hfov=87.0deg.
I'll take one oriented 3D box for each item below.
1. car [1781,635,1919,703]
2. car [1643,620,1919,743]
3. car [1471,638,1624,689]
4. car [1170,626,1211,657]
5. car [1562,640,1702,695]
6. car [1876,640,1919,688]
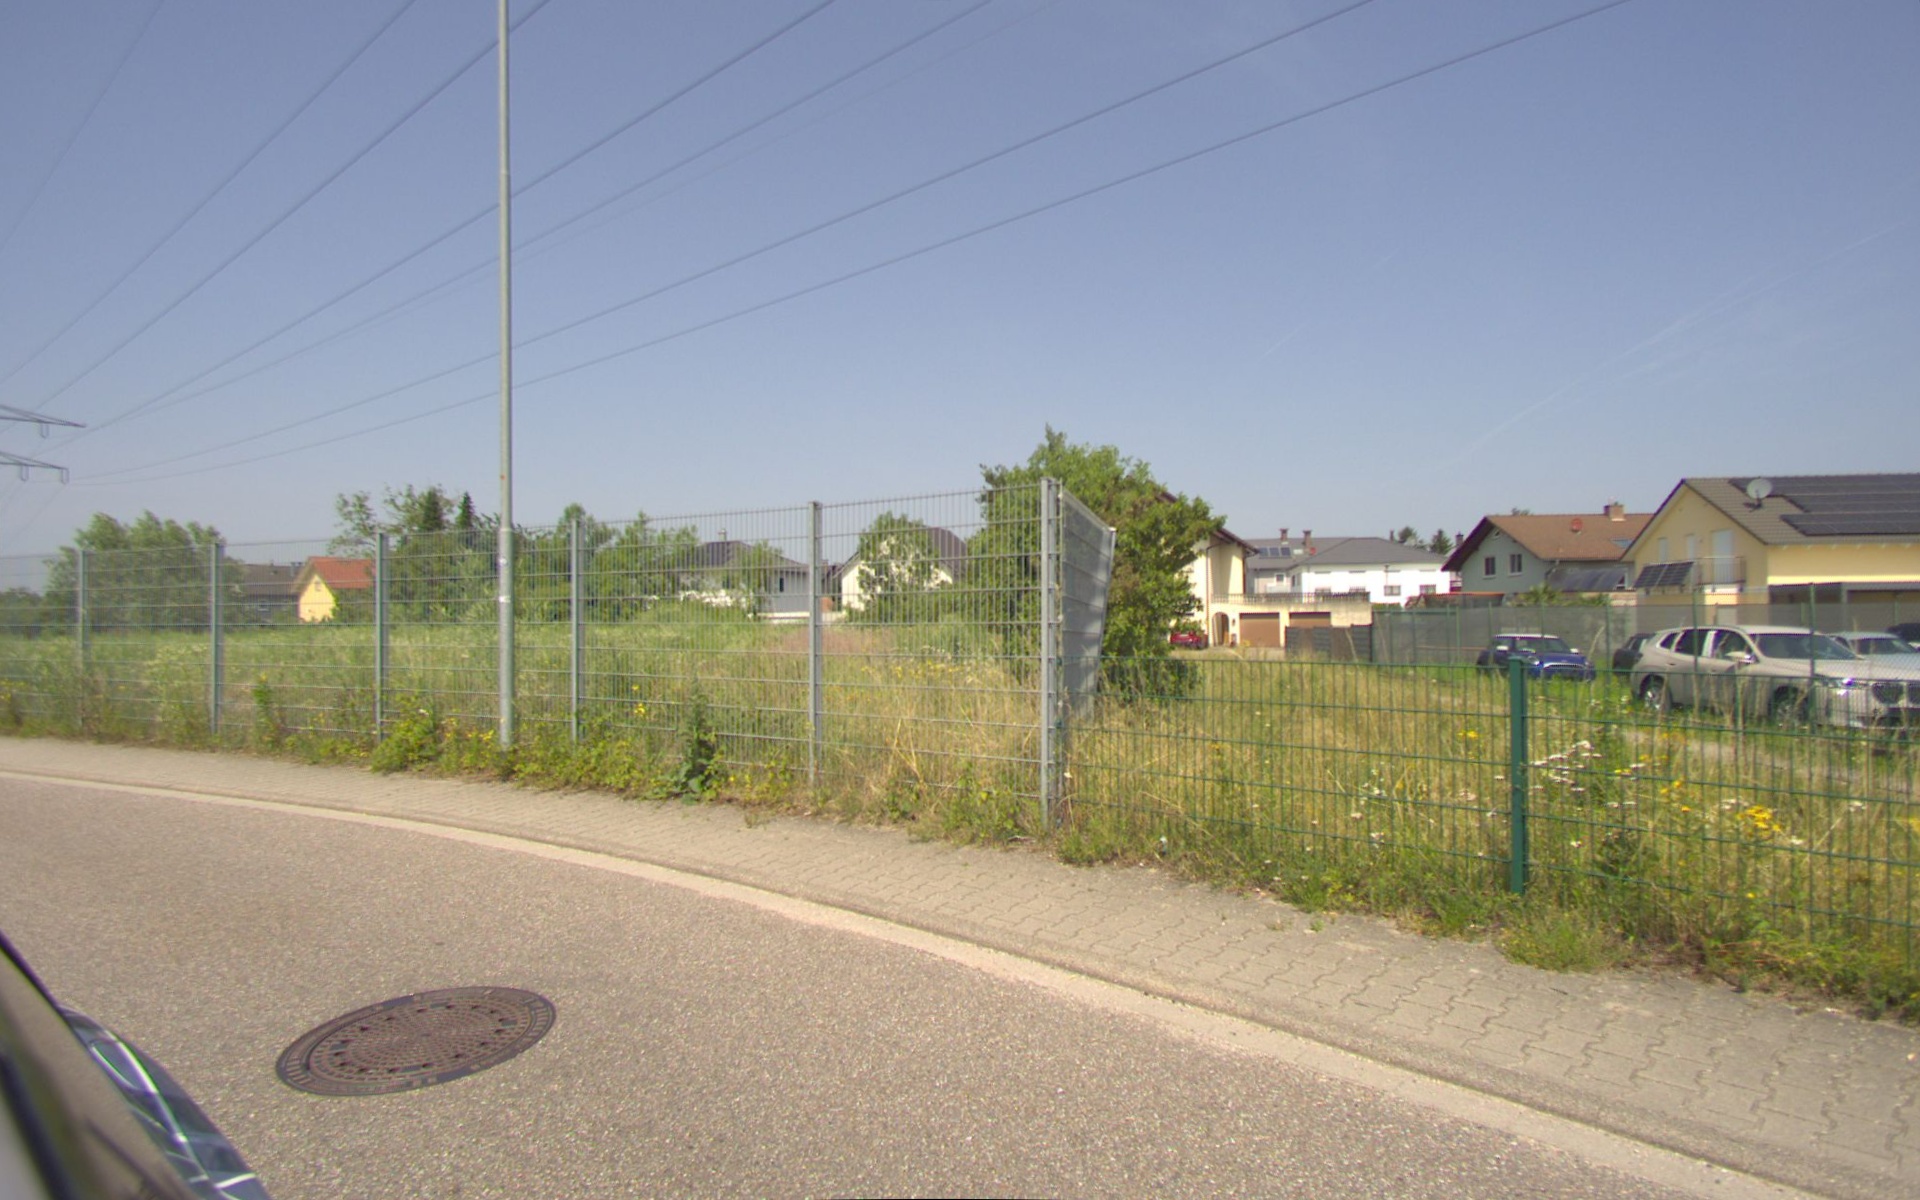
[{"bbox_3d":[23.953,1.720,26.319,2.016,1.548,4.129,0,-1,5],"label":"car"},{"bbox_3d":[12.839,1.113,15.473,2.016,1.574,4.431,0,-1,5],"label":"car"},{"bbox_3d":[14.981,1.588,26.069,1.843,1.116,3.998,0,-1,5],"label":"car"},{"bbox_3d":[13.982,2.473,61.305,1.854,1.741,4.105,-1,-1,22],"label":"car"},{"bbox_3d":[17.539,1.727,26.617,1.468,1.256,3.623,-1,-1,5],"label":"car"},{"bbox_3d":[26.193,1.697,25.982,1.771,1.245,4.129,0,-1,5],"label":"car"}]
